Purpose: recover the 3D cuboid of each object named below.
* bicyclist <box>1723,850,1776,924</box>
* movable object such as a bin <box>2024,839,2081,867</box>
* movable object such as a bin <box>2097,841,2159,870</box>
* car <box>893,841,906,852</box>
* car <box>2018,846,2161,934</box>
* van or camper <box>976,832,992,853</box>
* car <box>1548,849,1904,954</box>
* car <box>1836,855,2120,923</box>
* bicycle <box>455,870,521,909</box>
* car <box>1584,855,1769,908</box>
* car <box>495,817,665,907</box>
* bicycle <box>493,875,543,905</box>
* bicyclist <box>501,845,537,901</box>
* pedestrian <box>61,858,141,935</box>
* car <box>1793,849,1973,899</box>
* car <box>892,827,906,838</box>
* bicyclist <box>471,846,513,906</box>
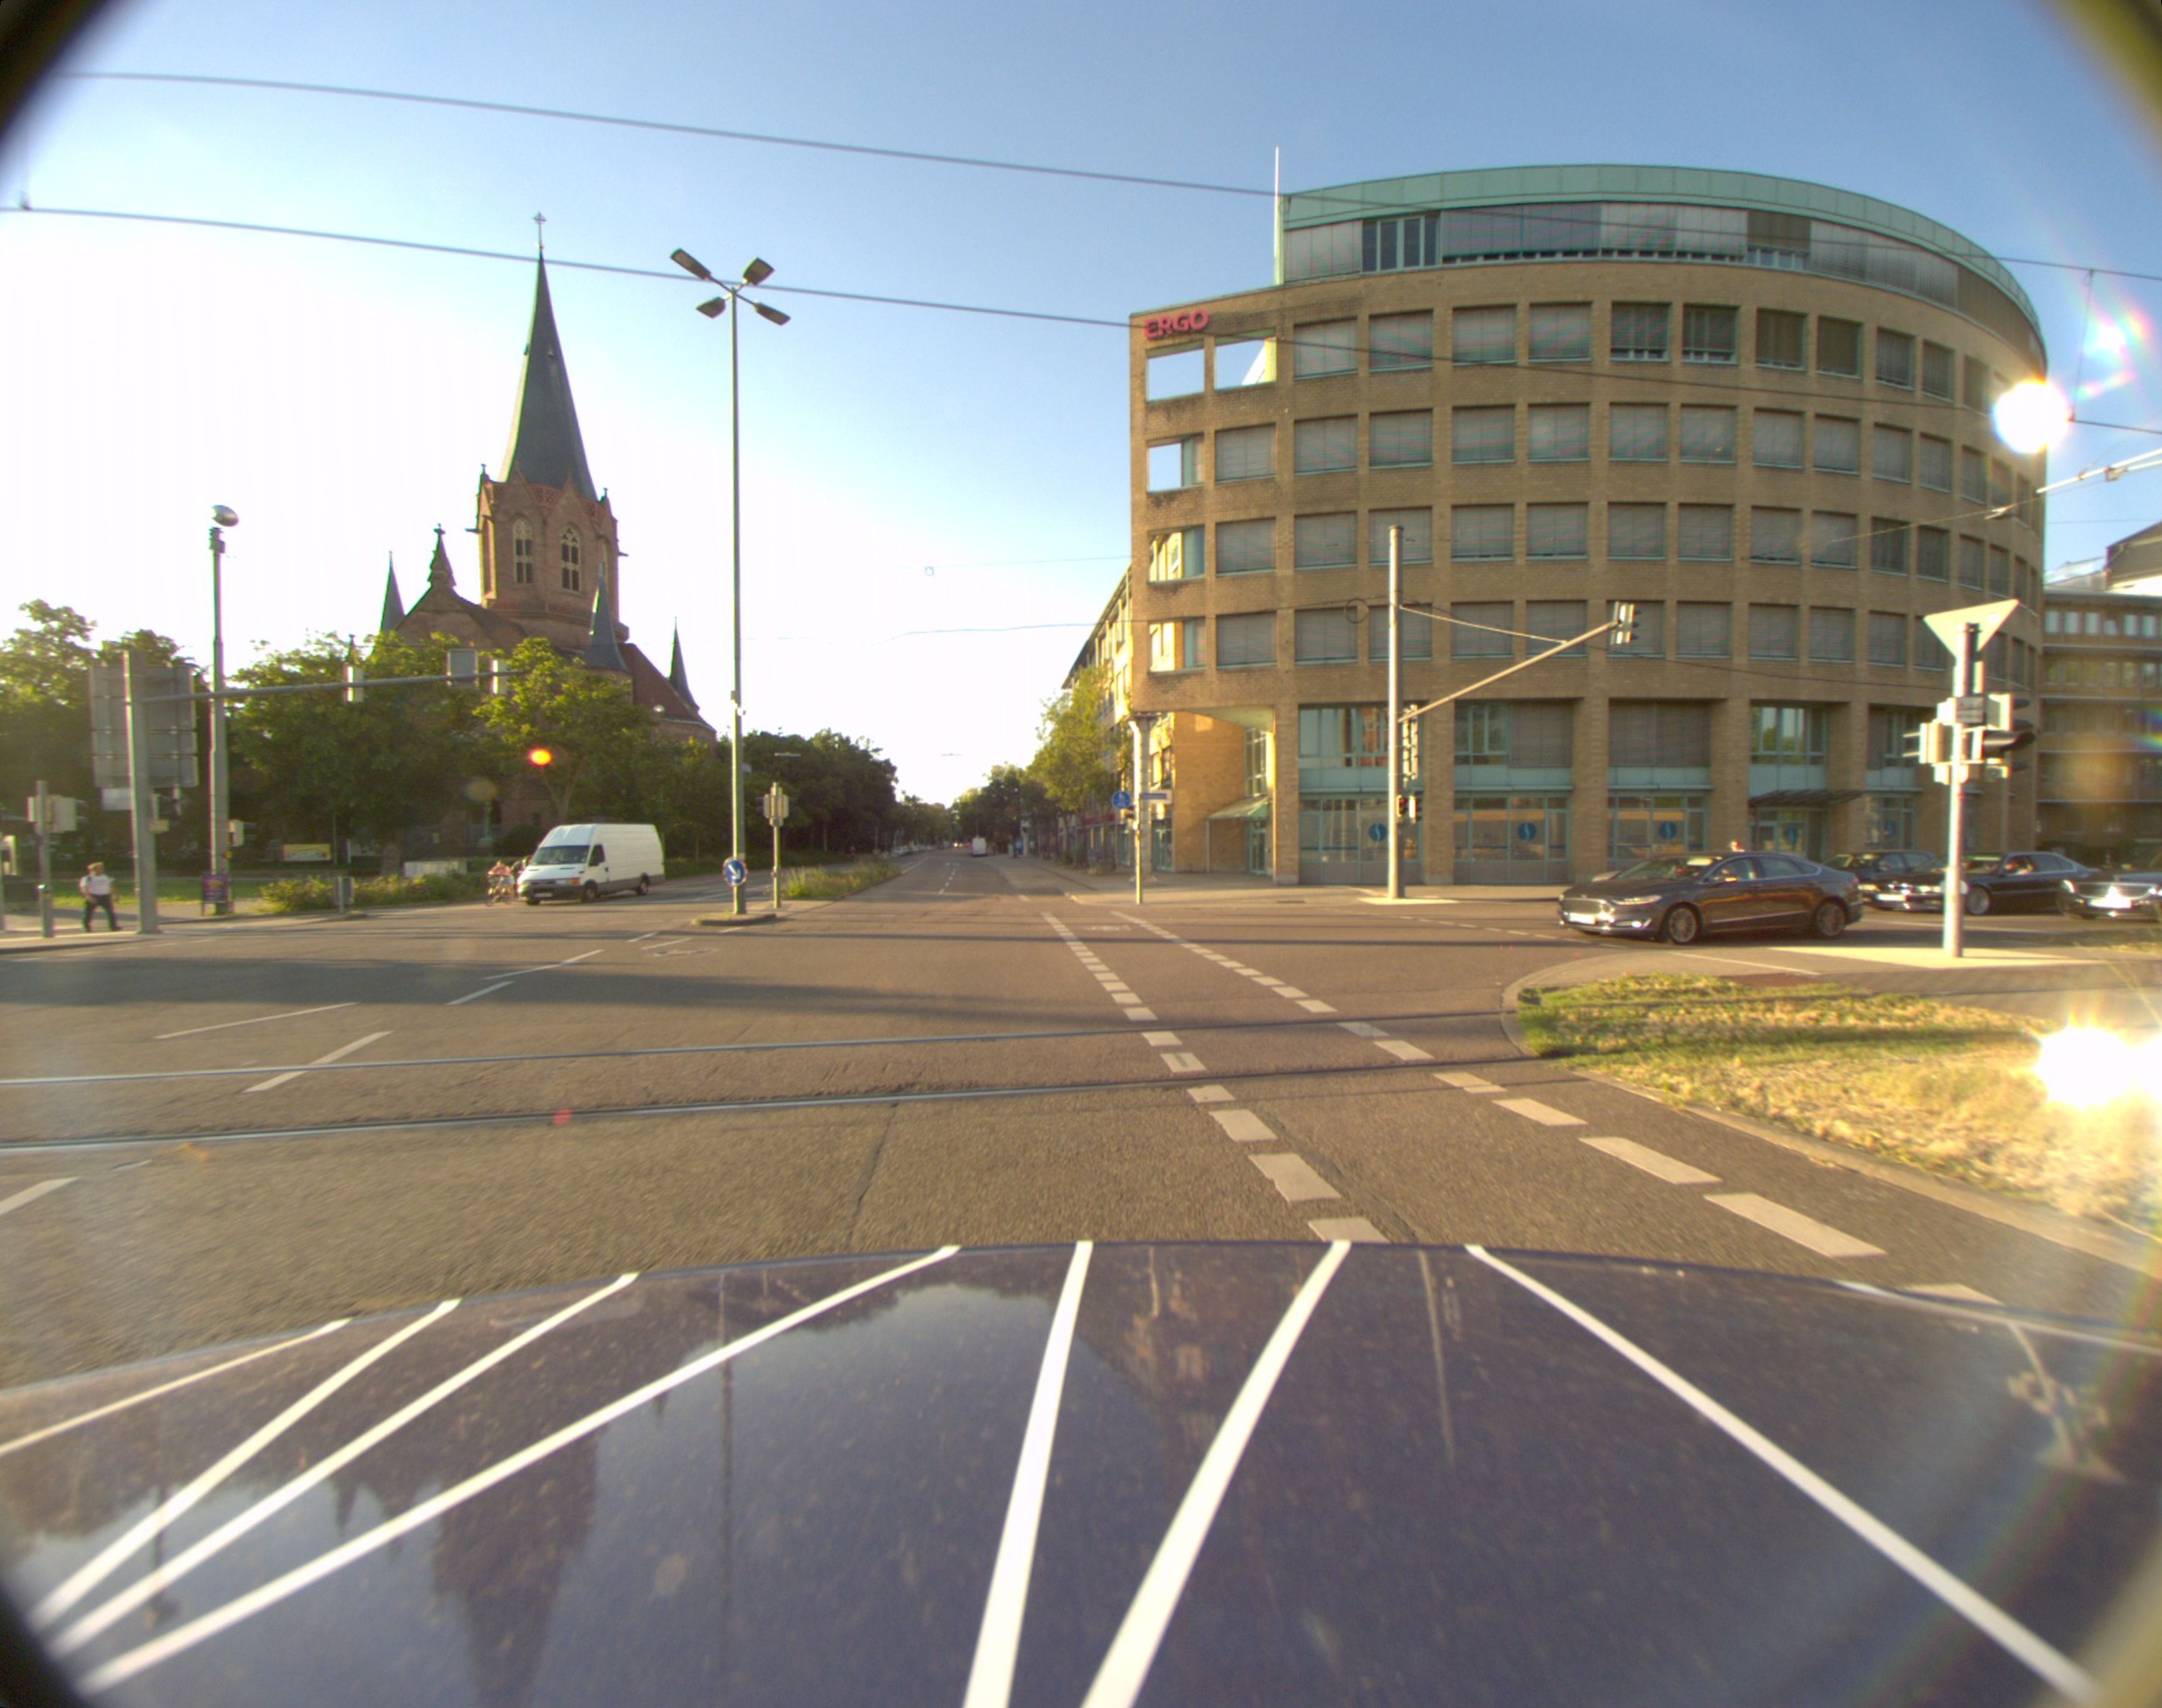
[{"bbox_3d":[16.836,0.812,19.143,0.777,1.810,0.635,-1,2,-10],"label":"bicyclist"},{"bbox_3d":[52.808,-0.066,41.302,1.333,1.451,1.426,-1,1,-11],"label":"movable object such as a bin"},{"bbox_3d":[52.767,0.049,38.313,1.333,1.451,1.425,-1,1,-13],"label":"movable object such as a bin"},{"bbox_3d":[-28.049,-1.170,117.316,1.908,1.609,3.994,-1,1,-14],"label":"car"},{"bbox_3d":[21.021,0.609,14.469,4.705,1.526,1.897,0,0,-9],"label":"car"},{"bbox_3d":[-13.641,-1.665,106.979,2.155,2.827,4.400,0,1,-7],"label":"van or camper"},{"bbox_3d":[10.477,0.689,12.487,4.726,1.477,1.890,0,1,-11],"label":"car"},{"bbox_3d":[20.294,0.743,17.285,4.739,1.377,1.998,0,0,-9],"label":"car"},{"bbox_3d":[-19.960,1.181,25.624,0.734,1.169,1.972,0,1,-3],"label":"bicycle"},{"bbox_3d":[17.104,0.757,21.910,4.227,1.377,1.747,0,1,-8],"label":"car"},{"bbox_3d":[-17.712,0.191,27.463,2.092,2.812,7.028,-1,1,-7],"label":"car"},{"bbox_3d":[-20.572,1.295,27.794,0.674,0.976,1.619,0,1,-4],"label":"bicycle"},{"bbox_3d":[-20.575,0.692,27.819,0.667,2.002,0.874,0,2,-5],"label":"bicyclist"},{"bbox_3d":[-23.796,1.007,18.462,0.810,1.793,0.836,0,2,7],"label":"pedestrian"},{"bbox_3d":[23.759,0.550,22.572,4.001,1.379,1.758,0,1,-10],"label":"car"},{"bbox_3d":[-29.100,-3.456,121.439,2.001,1.649,3.993,-1,1,-16],"label":"car"},{"bbox_3d":[-19.976,0.729,25.787,0.722,2.002,0.901,0,2,-4],"label":"bicyclist"}]
